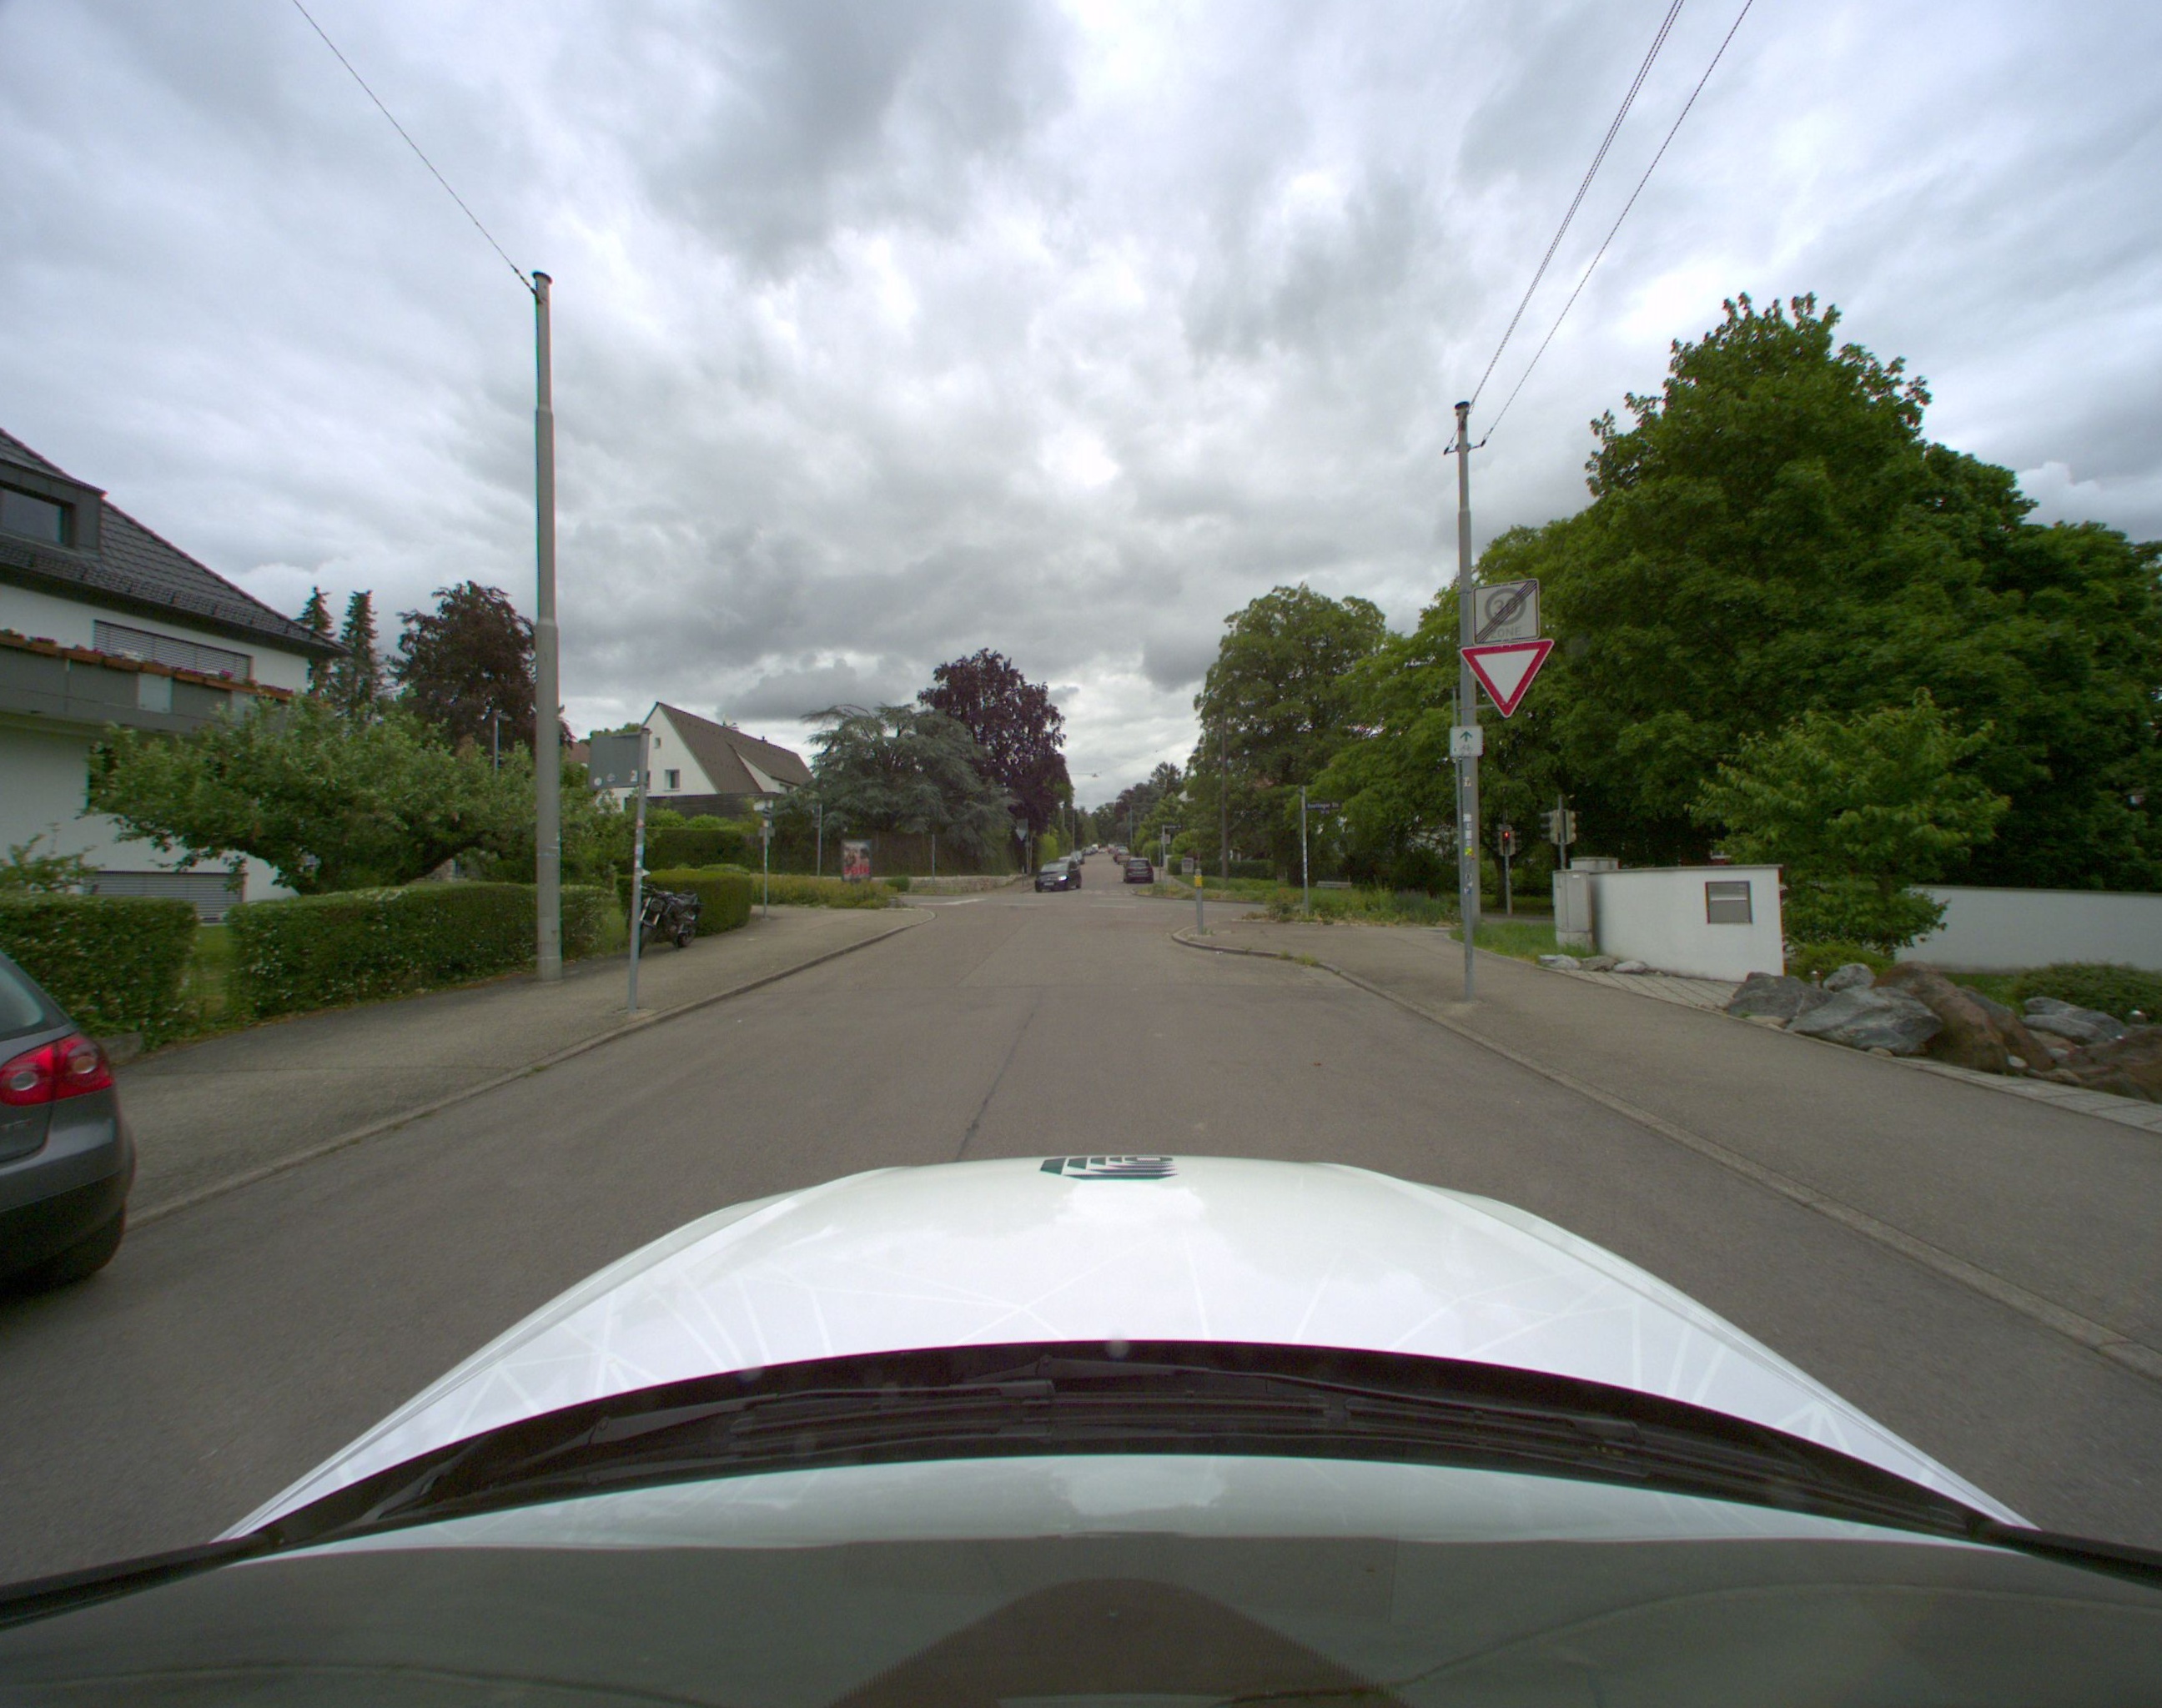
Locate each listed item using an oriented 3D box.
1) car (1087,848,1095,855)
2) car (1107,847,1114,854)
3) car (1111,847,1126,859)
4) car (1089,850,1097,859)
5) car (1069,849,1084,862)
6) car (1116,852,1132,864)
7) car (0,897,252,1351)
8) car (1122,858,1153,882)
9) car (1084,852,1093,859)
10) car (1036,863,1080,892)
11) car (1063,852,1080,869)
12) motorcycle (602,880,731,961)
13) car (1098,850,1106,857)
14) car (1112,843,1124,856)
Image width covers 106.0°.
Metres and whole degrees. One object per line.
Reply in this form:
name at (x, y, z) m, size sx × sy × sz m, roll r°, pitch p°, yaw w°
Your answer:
car at (2.544, -0.644, 207.626) m, size 1.811 × 1.882 × 4.001 m, roll 1°, pitch 0°, yaw 1°
car at (6.884, -0.869, 192.210) m, size 1.628 × 1.701 × 3.495 m, roll -1°, pitch 0°, yaw 1°
car at (4.830, -0.114, 104.516) m, size 1.782 × 1.529 × 3.737 m, roll -1°, pitch 0°, yaw 3°
car at (2.565, 0.026, 173.143) m, size 1.716 × 1.882 × 4.001 m, roll 0°, pitch 0°, yaw 1°
car at (-0.538, 0.187, 100.909) m, size 1.704 × 1.585 × 4.003 m, roll -1°, pitch 1°, yaw 3°
car at (5.057, 0.473, 95.603) m, size 1.804 × 1.335 × 3.633 m, roll 0°, pitch 1°, yaw 1°
car at (-5.519, 0.941, 2.995) m, size 3.955 × 1.444 × 1.835 m, roll -1°, pitch 0°, yaw 18°
car at (3.592, 1.008, 52.057) m, size 1.772 × 1.489 × 4.000 m, roll 0°, pitch 0°, yaw 1°
car at (1.463, 0.271, 160.560) m, size 1.621 × 1.386 × 3.599 m, roll 1°, pitch 0°, yaw 1°
car at (-1.184, 1.207, 43.497) m, size 1.719 × 1.407 × 3.811 m, roll -2°, pitch 0°, yaw 7°
car at (-0.962, 0.635, 82.852) m, size 1.628 × 1.701 × 3.763 m, roll -1°, pitch 0°, yaw 1°
motorcycle at (-6.691, 1.028, 13.349) m, size 0.726 × 1.116 × 2.624 m, roll -1°, pitch 0°, yaw 1°
car at (5.511, -0.168, 216.194) m, size 1.986 × 1.882 × 4.001 m, roll 1°, pitch 0°, yaw 1°
car at (5.223, -0.647, 116.530) m, size 1.628 × 1.701 × 3.495 m, roll -1°, pitch 0°, yaw 1°
